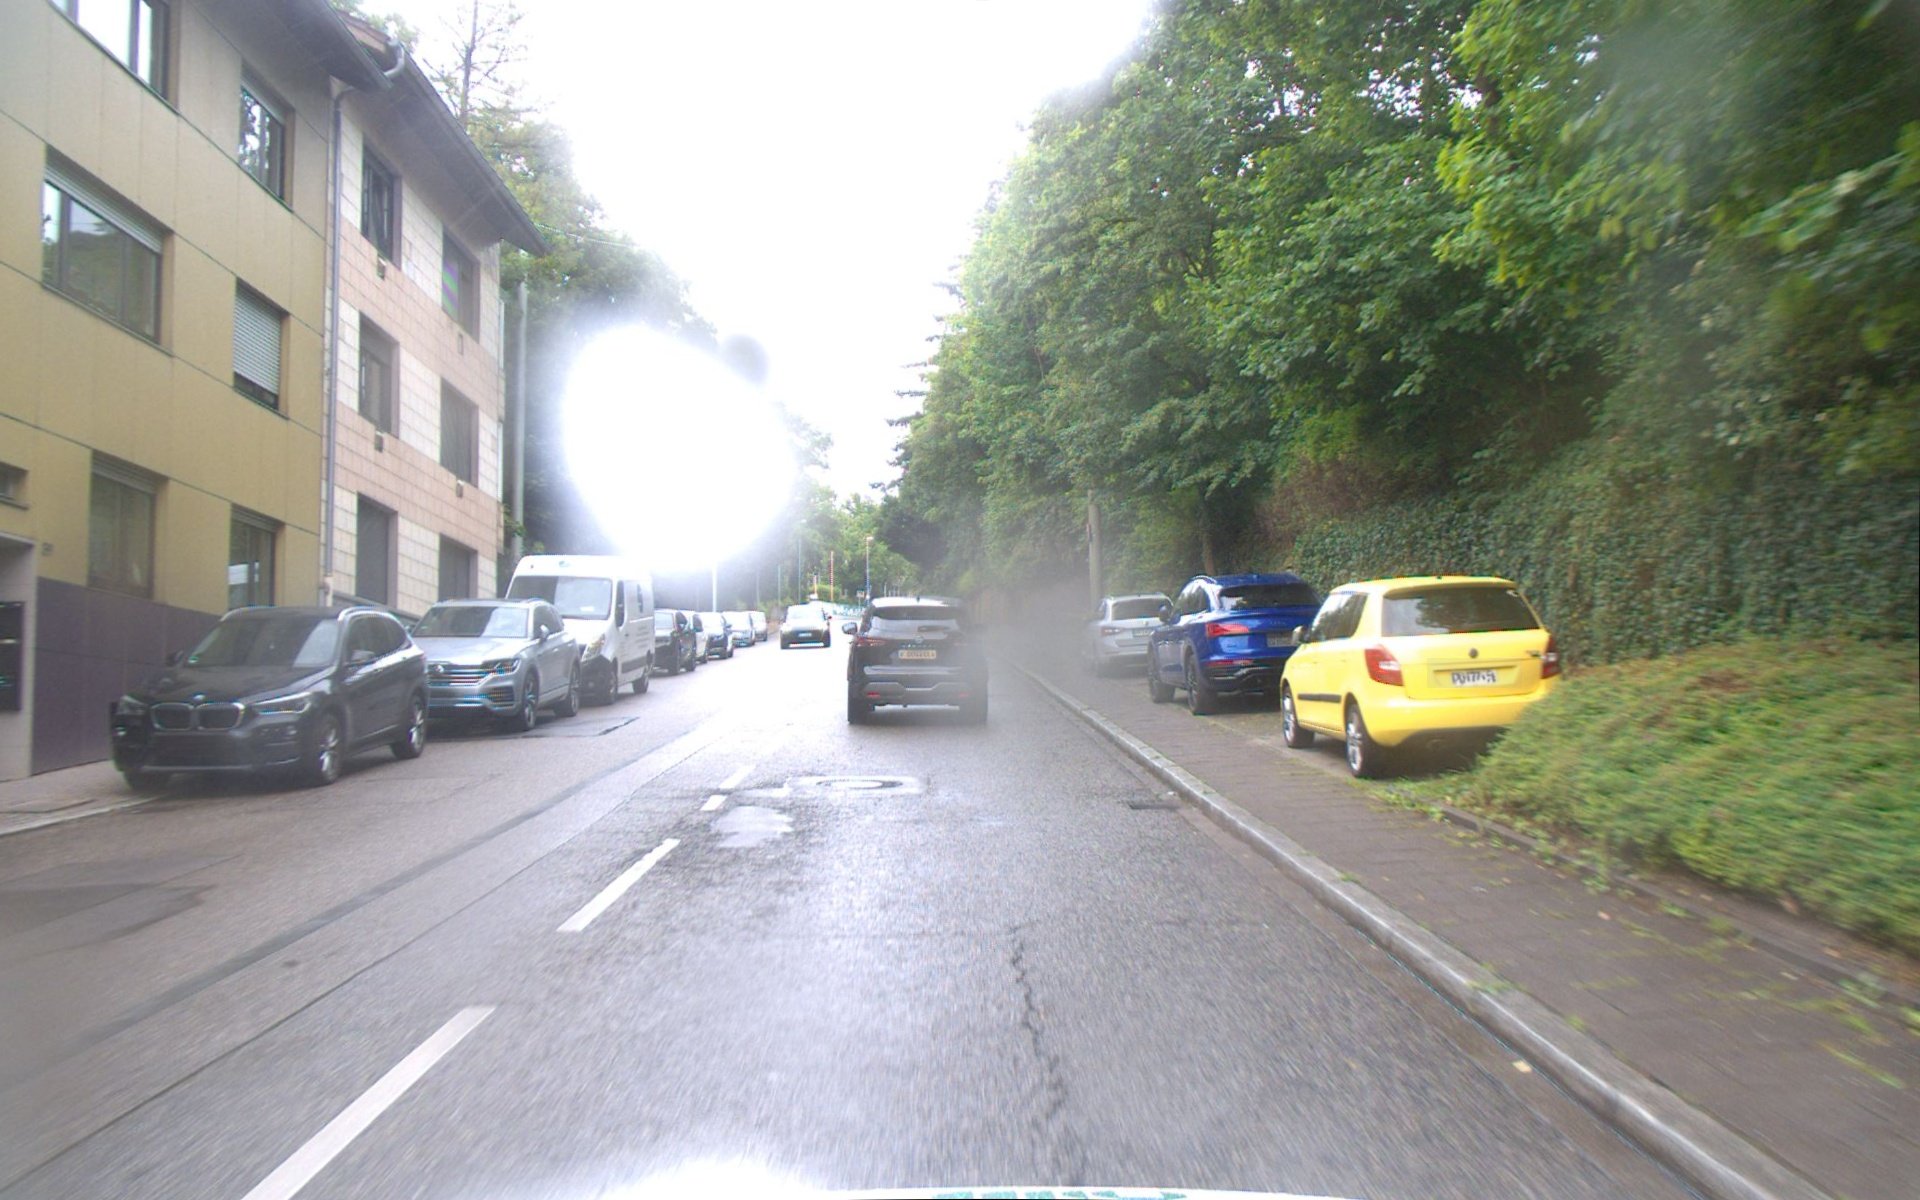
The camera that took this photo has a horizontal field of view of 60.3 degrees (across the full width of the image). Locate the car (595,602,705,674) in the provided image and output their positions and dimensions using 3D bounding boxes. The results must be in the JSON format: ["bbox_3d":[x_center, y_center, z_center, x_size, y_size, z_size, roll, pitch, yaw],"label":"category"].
[{"bbox_3d":[-7.451,0.865,40.114,1.950,1.594,4.456,-1,0,-2],"label":"car"}]

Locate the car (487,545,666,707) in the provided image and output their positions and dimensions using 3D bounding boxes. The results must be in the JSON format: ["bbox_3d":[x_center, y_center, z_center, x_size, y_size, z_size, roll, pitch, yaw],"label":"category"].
[{"bbox_3d":[-6.559,0.407,28.979,1.950,2.518,5.781,-1,0,-2],"label":"car"}]

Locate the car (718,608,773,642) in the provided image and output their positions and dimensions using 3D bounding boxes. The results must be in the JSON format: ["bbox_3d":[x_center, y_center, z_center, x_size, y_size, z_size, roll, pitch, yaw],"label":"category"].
[{"bbox_3d":[-9.447,1.069,73.125,1.950,1.408,4.456,-1,0,-2],"label":"car"}]

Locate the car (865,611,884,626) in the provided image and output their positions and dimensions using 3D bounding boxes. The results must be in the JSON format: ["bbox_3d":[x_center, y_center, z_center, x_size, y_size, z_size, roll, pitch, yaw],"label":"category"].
[{"bbox_3d":[-9.445,2.044,183.439,2.033,1.587,3.998,0,0,-3],"label":"car"}]

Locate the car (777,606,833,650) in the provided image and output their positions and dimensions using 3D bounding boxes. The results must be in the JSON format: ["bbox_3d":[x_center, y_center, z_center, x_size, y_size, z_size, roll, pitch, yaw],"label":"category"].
[{"bbox_3d":[-5.977,1.064,64.228,1.954,1.587,3.998,1,0,-3],"label":"car"}]

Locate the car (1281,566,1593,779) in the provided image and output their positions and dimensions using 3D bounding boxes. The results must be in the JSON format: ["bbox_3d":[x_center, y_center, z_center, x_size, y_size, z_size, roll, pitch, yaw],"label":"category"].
[{"bbox_3d":[3.903,0.542,14.191,1.599,1.557,4.001,0,0,1],"label":"car"}]

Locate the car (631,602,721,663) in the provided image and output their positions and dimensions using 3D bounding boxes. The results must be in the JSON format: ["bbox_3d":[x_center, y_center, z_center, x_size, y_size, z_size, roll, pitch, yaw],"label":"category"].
[{"bbox_3d":[-8.089,0.893,47.451,1.950,1.594,4.456,-1,0,-2],"label":"car"}]

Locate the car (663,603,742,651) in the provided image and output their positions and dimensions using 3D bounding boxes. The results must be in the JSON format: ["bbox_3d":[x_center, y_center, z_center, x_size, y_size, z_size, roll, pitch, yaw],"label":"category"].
[{"bbox_3d":[-8.117,0.832,52.578,1.950,1.408,4.456,-1,0,-2],"label":"car"}]

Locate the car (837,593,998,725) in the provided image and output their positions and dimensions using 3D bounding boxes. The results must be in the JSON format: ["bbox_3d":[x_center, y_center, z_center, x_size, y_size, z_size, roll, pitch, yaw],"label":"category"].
[{"bbox_3d":[-0.558,0.710,22.192,1.953,1.587,3.999,1,0,-1],"label":"car"}]

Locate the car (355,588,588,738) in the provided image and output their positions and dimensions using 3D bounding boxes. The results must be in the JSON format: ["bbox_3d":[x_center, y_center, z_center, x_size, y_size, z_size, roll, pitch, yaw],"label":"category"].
[{"bbox_3d":[-6.468,0.767,22.450,1.950,1.786,4.478,-1,0,-2],"label":"car"}]

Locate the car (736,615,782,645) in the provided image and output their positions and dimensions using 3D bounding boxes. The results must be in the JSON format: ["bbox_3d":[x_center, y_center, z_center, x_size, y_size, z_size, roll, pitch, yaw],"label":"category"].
[{"bbox_3d":[-10.245,1.522,84.548,1.950,1.408,4.456,-1,0,-2],"label":"car"}]

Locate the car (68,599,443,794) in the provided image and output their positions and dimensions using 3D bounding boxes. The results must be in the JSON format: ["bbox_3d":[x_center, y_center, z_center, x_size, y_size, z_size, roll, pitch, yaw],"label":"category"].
[{"bbox_3d":[-6.685,0.820,16.268,1.950,1.613,4.303,-1,0,-2],"label":"car"}]

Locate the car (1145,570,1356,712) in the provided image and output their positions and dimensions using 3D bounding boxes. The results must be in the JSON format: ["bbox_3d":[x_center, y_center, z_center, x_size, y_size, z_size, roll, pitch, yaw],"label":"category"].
[{"bbox_3d":[3.612,0.486,21.359,1.774,1.556,4.415,-3,0,-2],"label":"car"}]

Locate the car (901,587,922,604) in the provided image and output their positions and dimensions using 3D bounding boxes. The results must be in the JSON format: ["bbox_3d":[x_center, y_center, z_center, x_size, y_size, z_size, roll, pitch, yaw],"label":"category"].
[{"bbox_3d":[-5.109,-0.481,174.021,1.952,1.587,4.000,-2,-2,1],"label":"car"}]

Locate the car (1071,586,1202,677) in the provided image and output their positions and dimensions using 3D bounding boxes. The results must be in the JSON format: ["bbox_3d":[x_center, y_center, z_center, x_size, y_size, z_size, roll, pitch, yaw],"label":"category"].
[{"bbox_3d":[3.345,0.590,32.219,1.775,1.556,4.414,-3,0,-3],"label":"car"}]
